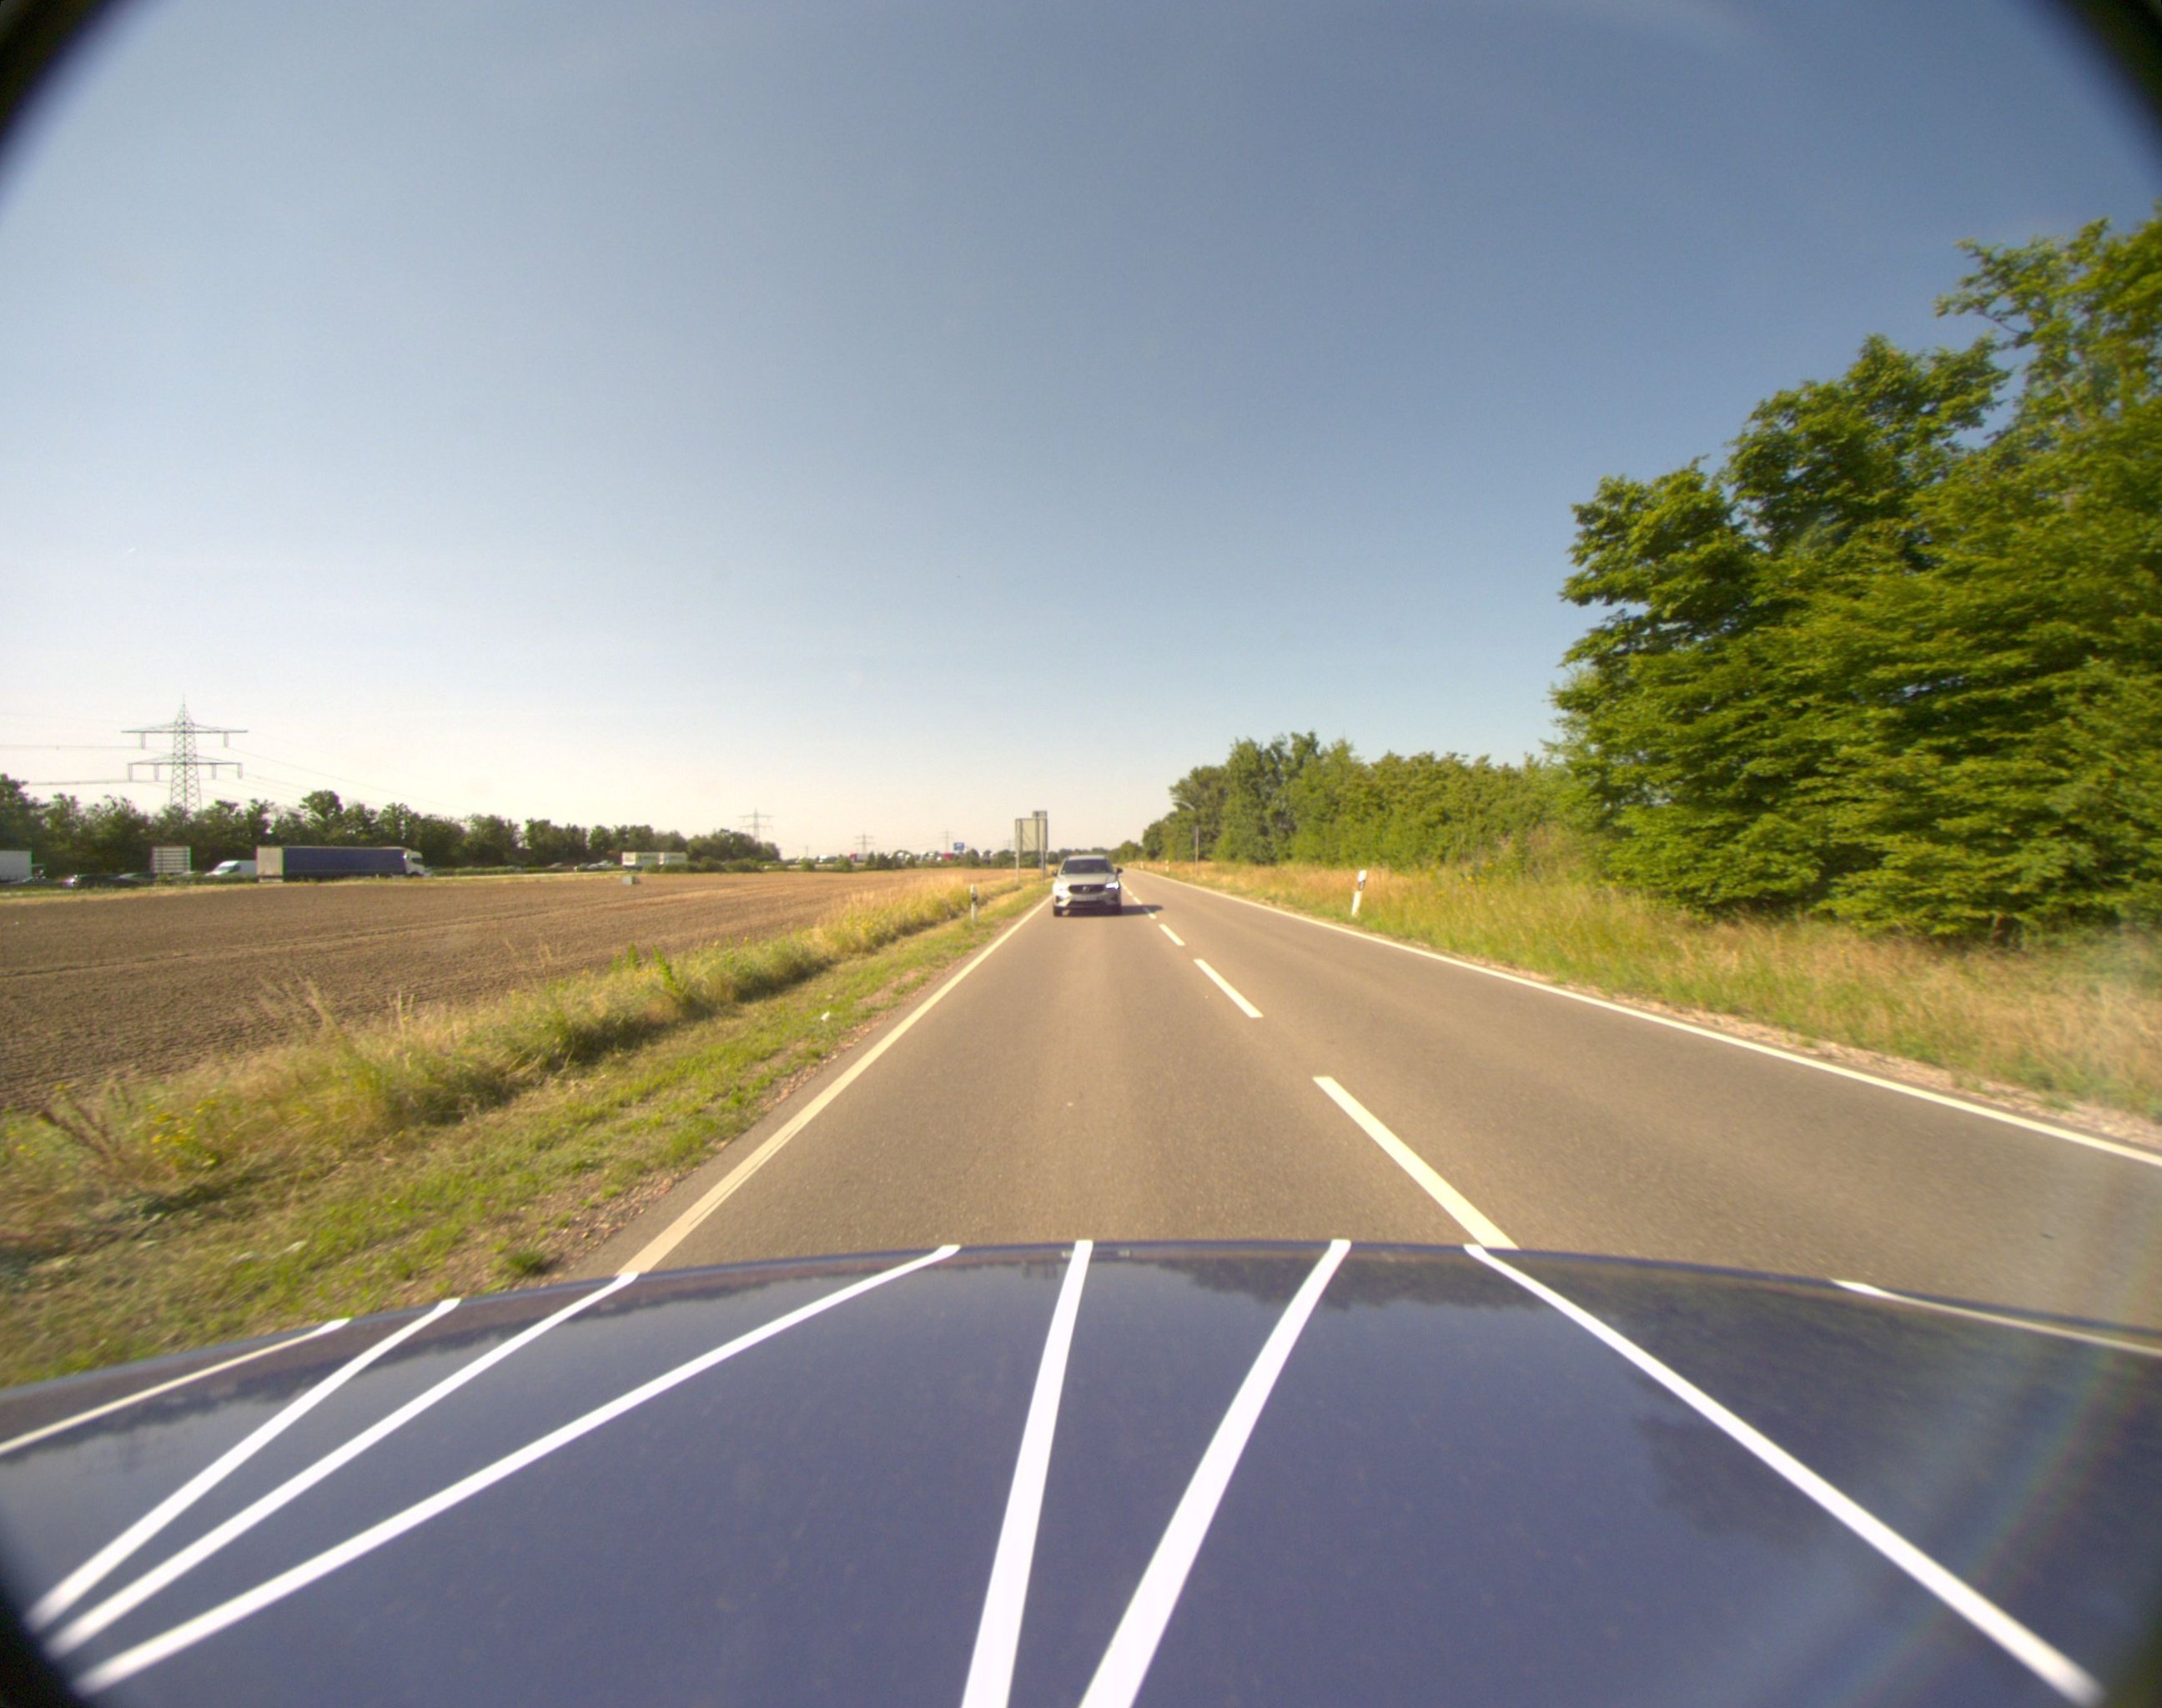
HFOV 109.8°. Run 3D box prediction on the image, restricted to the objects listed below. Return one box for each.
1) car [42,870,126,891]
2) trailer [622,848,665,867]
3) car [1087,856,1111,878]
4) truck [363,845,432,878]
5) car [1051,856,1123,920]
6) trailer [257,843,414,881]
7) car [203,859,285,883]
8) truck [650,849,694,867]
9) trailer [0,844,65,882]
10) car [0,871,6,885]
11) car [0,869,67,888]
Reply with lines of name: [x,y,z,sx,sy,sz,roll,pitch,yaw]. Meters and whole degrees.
car: [-86.623,2.265,66.086,1.998,1.566,3.894,-3,0,1]
trailer: [-81.515,0.672,141.791,2.800,3.395,8.718,-1,0,0]
car: [1.468,1.031,61.666,1.840,1.628,4.135,-2,0,1]
truck: [-82.116,0.901,91.431,3.080,3.779,5.611,-2,-1,-1]
car: [0.215,0.894,21.912,1.840,1.628,4.136,-2,0,1]
trailer: [-82.028,0.896,84.338,3.080,3.779,14.592,-2,-1,-1]
car: [-95.546,1.907,86.888,2.042,2.433,6.414,-2,0,2]
truck: [-81.453,0.689,151.684,2.813,3.457,11.120,-1,0,0]
trailer: [-100.707,0.807,66.493,3.210,3.510,15.082,0,0,0]
car: [-94.329,2.101,64.552,1.344,1.212,3.291,-1,0,-1]
car: [-95.666,2.239,68.929,1.707,1.500,4.094,-3,0,1]
